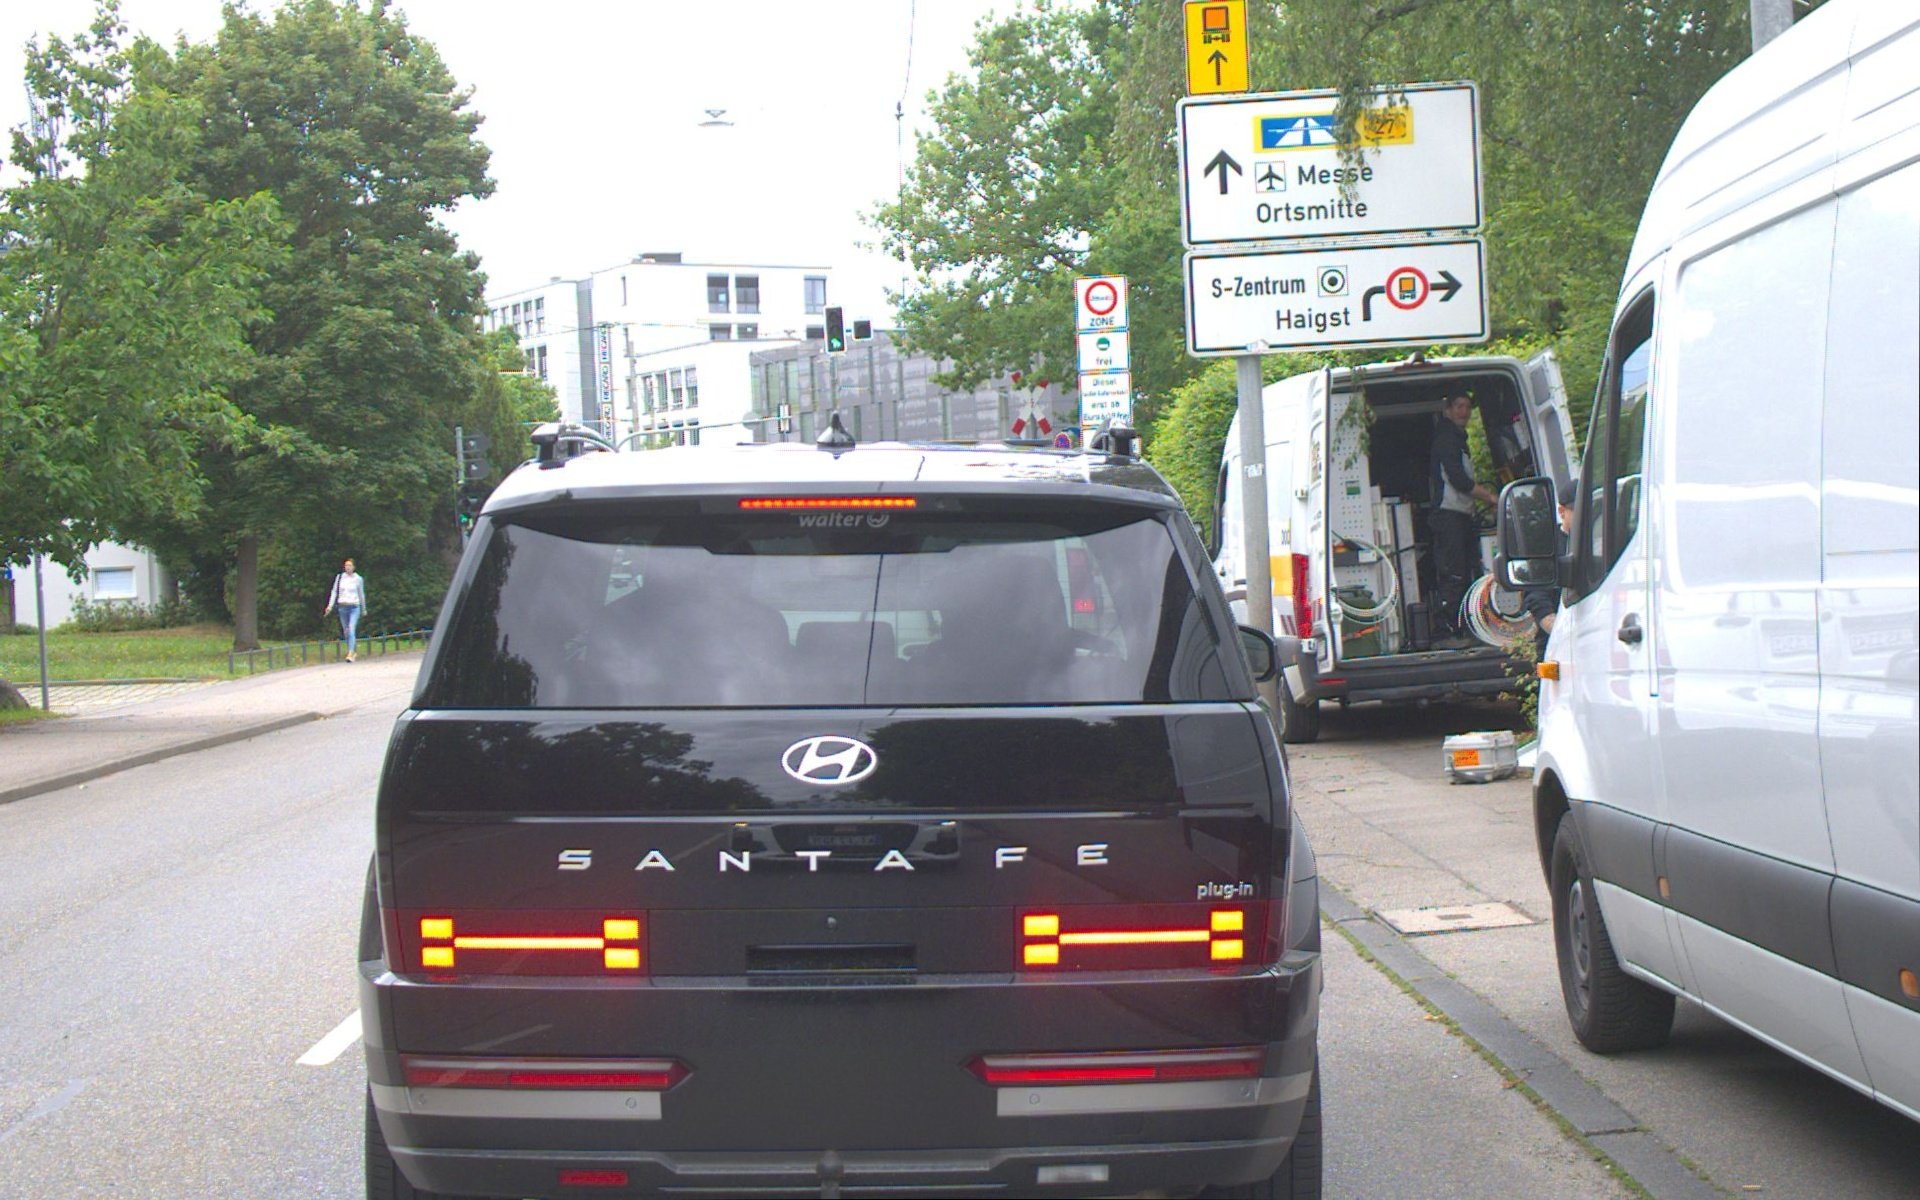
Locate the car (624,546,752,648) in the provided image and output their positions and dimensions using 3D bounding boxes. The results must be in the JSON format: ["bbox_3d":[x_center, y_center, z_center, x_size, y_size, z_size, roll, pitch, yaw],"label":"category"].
[{"bbox_3d":[-4.367,-0.070,55.685,1.701,1.478,4.000,-4,1,-1],"label":"car"}]

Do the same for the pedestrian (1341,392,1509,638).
[{"bbox_3d":[3.214,-0.585,23.770,0.800,1.638,0.737,-3,0,39],"label":"pedestrian"}]

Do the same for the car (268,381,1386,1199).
[{"bbox_3d":[-0.252,0.503,7.888,1.897,1.770,3.994,1,1,-1],"label":"car"}]

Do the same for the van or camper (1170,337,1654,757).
[{"bbox_3d":[3.091,-0.334,25.282,2.340,2.486,6.603,-5,0,-1],"label":"van or camper"}]

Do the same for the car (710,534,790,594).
[{"bbox_3d":[-5.663,-0.968,93.111,1.814,1.414,4.829,-5,1,-1],"label":"car"}]

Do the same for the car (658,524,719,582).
[{"bbox_3d":[-11.408,-1.954,144.201,2.332,2.307,4.959,-2,1,-6],"label":"car"}]

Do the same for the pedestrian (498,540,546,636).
[{"bbox_3d":[-9.320,-0.262,73.122,0.830,2.007,1.047,1,0,2],"label":"pedestrian"}]

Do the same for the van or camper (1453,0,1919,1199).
[{"bbox_3d":[2.609,-0.019,7.008,1.991,2.616,6.544,-5,1,-1],"label":"van or camper"}]

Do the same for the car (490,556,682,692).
[{"bbox_3d":[-4.378,0.251,40.839,1.756,1.398,4.414,-4,1,-1],"label":"car"}]

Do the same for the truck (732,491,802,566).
[{"bbox_3d":[-10.527,-3.812,186.397,3.107,3.846,9.623,-2,1,-6],"label":"truck"}]

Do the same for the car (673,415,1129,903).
[{"bbox_3d":[-0.270,0.228,16.514,1.897,2.035,3.994,1,1,-1],"label":"car"}]

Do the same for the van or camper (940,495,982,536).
[{"bbox_3d":[0.038,-4.230,172.491,1.795,1.992,3.824,1,1,-4],"label":"van or camper"}]

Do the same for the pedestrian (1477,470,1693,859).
[{"bbox_3d":[2.831,0.283,15.636,0.789,1.715,0.752,1,0,-3],"label":"pedestrian"}]

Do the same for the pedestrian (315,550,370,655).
[{"bbox_3d":[-10.308,0.037,57.395,0.767,1.742,0.904,-1,0,-2],"label":"pedestrian"}]

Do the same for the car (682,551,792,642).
[{"bbox_3d":[-4.435,-0.094,68.854,1.880,1.639,4.128,-4,1,-1],"label":"car"}]
